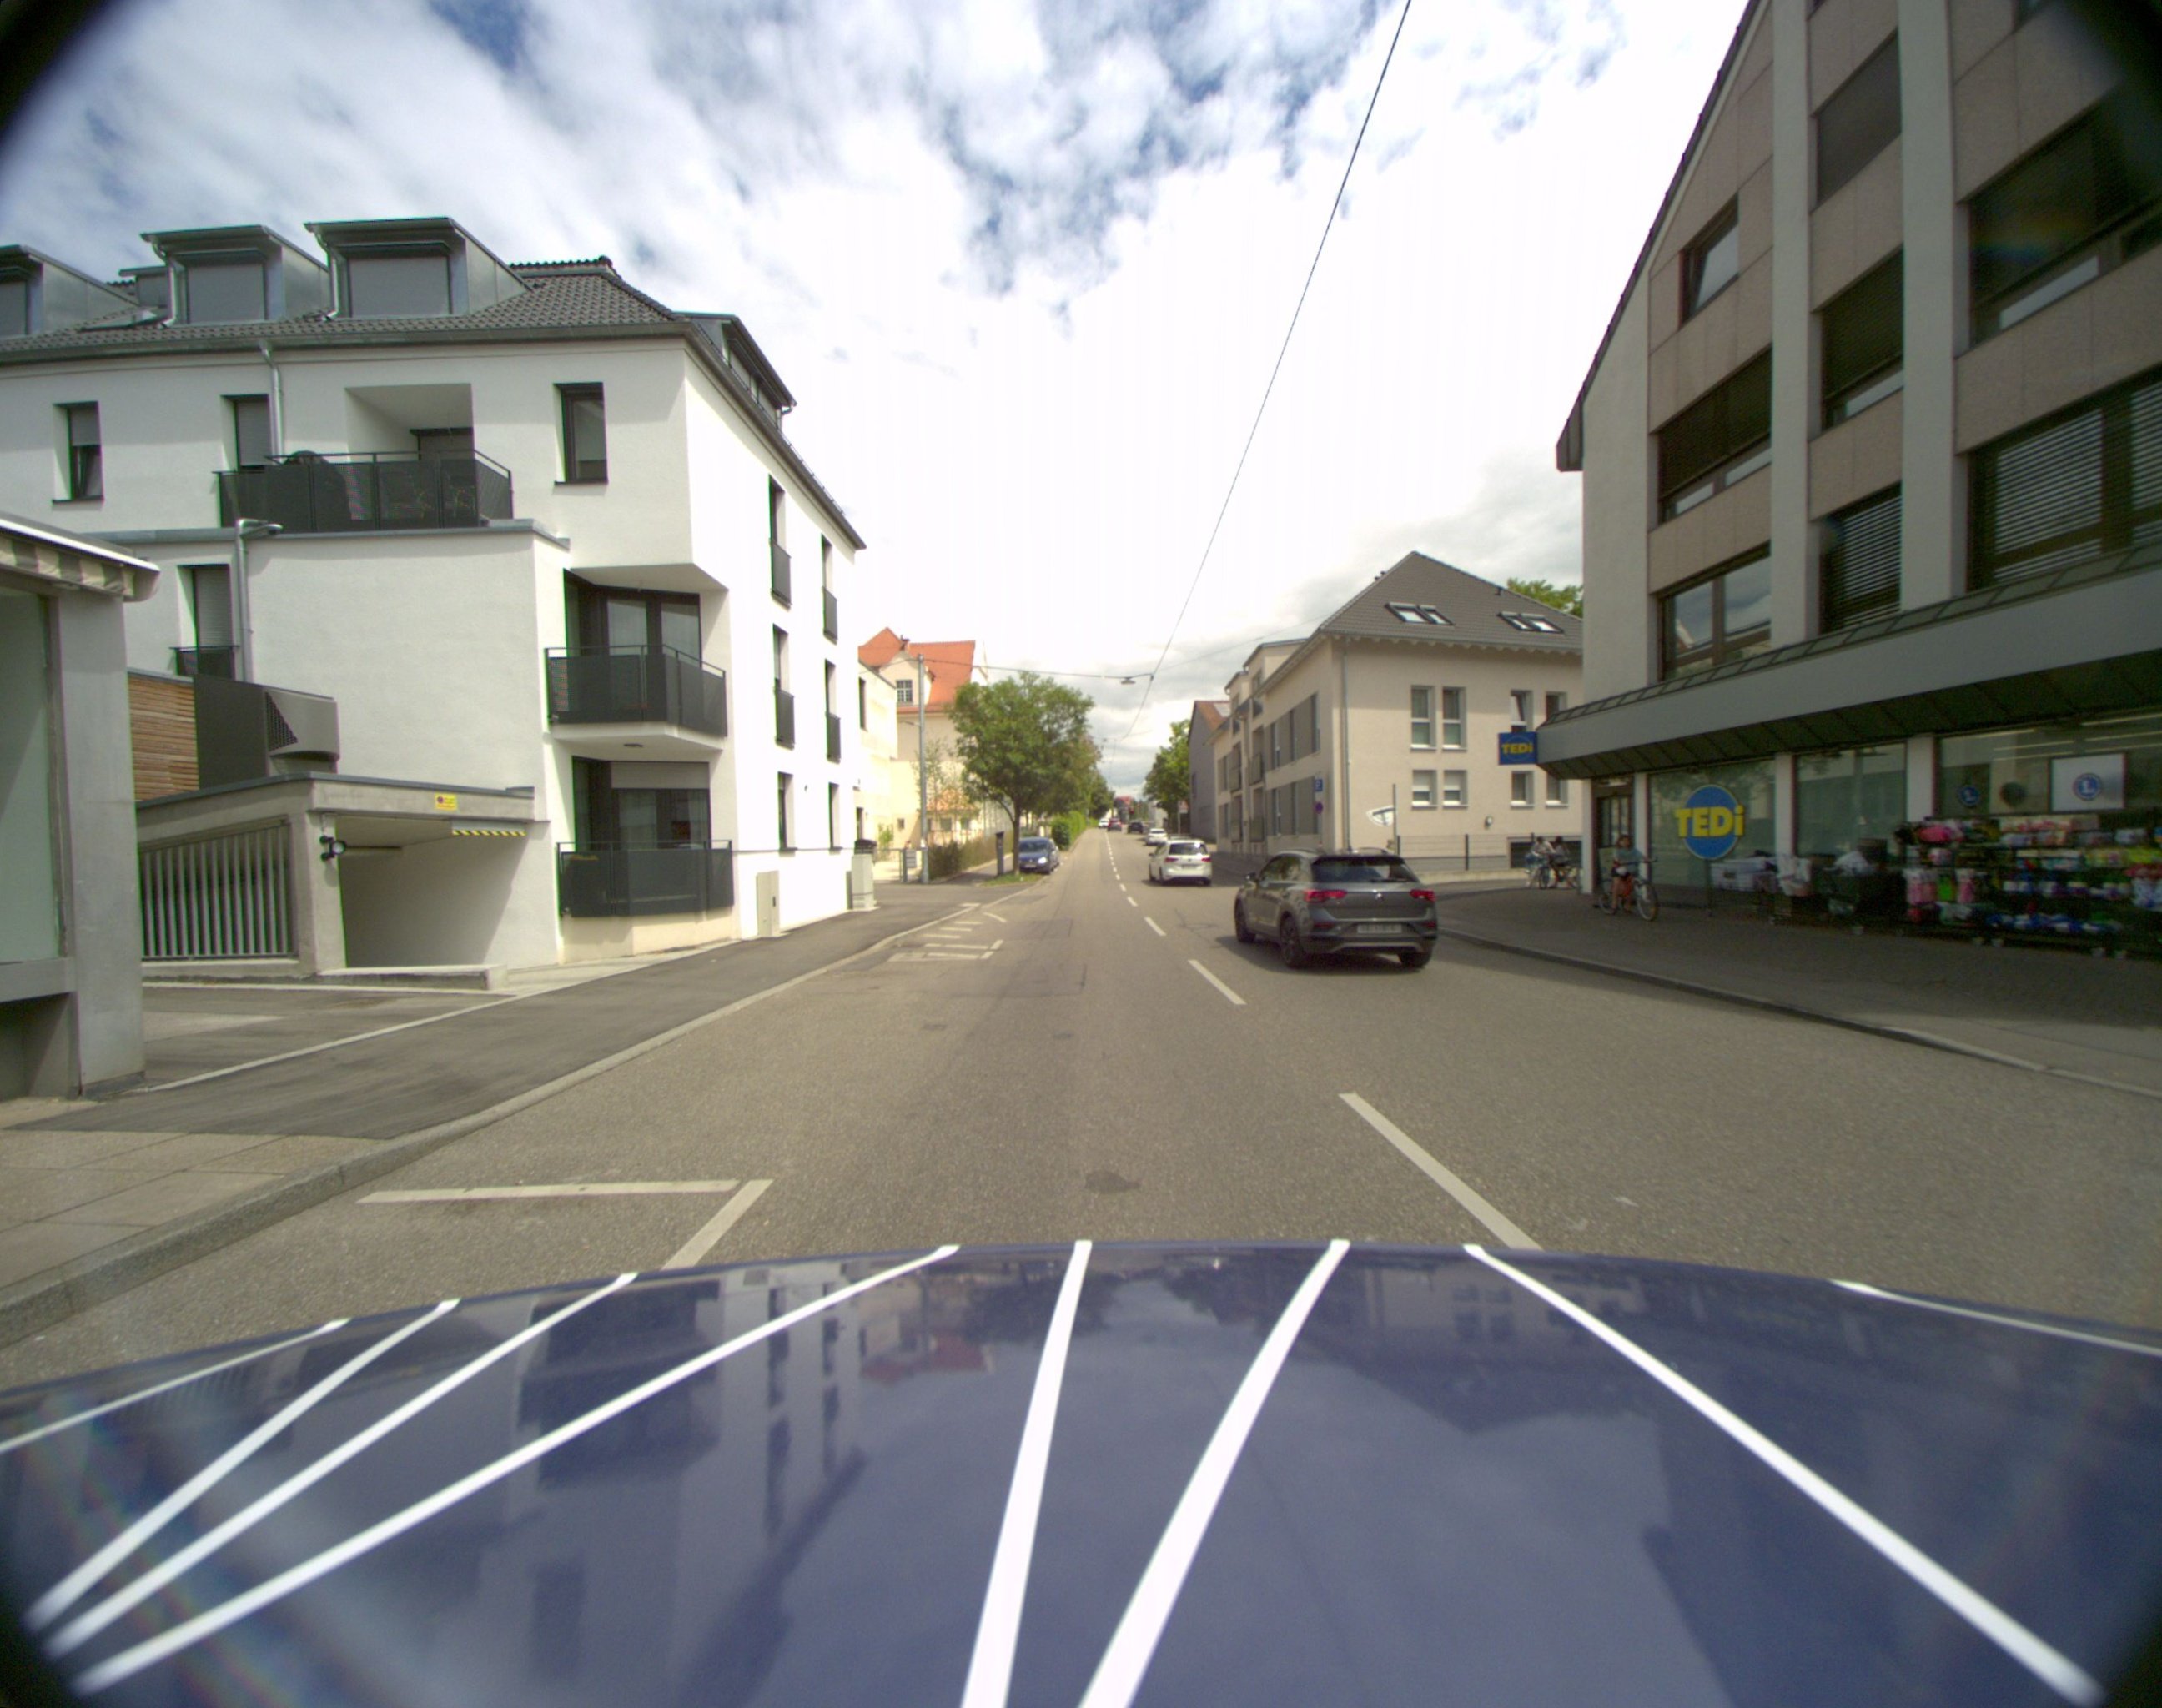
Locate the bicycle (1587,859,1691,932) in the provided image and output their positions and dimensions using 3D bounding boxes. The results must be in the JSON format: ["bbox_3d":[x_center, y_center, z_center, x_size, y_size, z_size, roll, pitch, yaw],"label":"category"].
[{"bbox_3d":[9.365,0.656,12.832,0.444,1.044,1.734,-5,2,1],"label":"bicycle"}]

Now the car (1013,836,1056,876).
[{"bbox_3d":[-2.185,0.026,36.967,1.698,1.734,4.158,-1,3,1],"label":"car"}]

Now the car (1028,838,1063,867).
[{"bbox_3d":[-1.976,-0.113,42.782,1.677,1.511,3.669,-1,2,1],"label":"car"}]

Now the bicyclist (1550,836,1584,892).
[{"bbox_3d":[12.166,0.252,19.032,0.425,1.357,0.587,-2,0,-43],"label":"bicyclist"}]

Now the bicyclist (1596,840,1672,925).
[{"bbox_3d":[9.298,0.467,12.797,0.669,1.330,0.761,-5,2,1],"label":"bicyclist"}]

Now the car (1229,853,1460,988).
[{"bbox_3d":[3.441,0.771,10.756,1.796,1.502,3.843,0,1,-2],"label":"car"}]

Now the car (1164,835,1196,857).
[{"bbox_3d":[6.193,-0.493,47.762,1.665,1.322,3.473,0,1,1],"label":"car"}]

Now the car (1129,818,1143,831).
[{"bbox_3d":[7.126,-3.874,98.448,1.672,1.546,3.963,0,4,1],"label":"car"}]

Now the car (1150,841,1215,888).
[{"bbox_3d":[3.662,0.325,28.020,1.779,1.604,4.118,0,1,-1],"label":"car"}]

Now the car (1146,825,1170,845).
[{"bbox_3d":[6.600,-1.649,65.341,1.737,1.480,4.064,0,4,1],"label":"car"}]

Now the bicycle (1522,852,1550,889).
[{"bbox_3d":[12.041,0.417,20.092,0.458,0.912,1.592,-1,1,37],"label":"bicycle"}]

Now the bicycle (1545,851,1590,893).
[{"bbox_3d":[12.187,0.440,19.007,1.694,0.949,0.553,-2,1,-44],"label":"bicycle"}]

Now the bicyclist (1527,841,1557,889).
[{"bbox_3d":[12.205,0.276,20.107,0.640,1.235,0.427,0,3,34],"label":"bicyclist"}]

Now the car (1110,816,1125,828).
[{"bbox_3d":[5.149,-4.544,108.171,1.946,1.709,4.596,-1,1,0],"label":"car"}]

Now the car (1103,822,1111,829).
[{"bbox_3d":[4.852,-5.329,140.964,1.298,1.148,2.983,-3,0,1],"label":"car"}]

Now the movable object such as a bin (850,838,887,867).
[{"bbox_3d":[-11.214,-0.091,40.153,1.351,1.439,1.806,-2,2,2],"label":"movable object such as a bin"}]
